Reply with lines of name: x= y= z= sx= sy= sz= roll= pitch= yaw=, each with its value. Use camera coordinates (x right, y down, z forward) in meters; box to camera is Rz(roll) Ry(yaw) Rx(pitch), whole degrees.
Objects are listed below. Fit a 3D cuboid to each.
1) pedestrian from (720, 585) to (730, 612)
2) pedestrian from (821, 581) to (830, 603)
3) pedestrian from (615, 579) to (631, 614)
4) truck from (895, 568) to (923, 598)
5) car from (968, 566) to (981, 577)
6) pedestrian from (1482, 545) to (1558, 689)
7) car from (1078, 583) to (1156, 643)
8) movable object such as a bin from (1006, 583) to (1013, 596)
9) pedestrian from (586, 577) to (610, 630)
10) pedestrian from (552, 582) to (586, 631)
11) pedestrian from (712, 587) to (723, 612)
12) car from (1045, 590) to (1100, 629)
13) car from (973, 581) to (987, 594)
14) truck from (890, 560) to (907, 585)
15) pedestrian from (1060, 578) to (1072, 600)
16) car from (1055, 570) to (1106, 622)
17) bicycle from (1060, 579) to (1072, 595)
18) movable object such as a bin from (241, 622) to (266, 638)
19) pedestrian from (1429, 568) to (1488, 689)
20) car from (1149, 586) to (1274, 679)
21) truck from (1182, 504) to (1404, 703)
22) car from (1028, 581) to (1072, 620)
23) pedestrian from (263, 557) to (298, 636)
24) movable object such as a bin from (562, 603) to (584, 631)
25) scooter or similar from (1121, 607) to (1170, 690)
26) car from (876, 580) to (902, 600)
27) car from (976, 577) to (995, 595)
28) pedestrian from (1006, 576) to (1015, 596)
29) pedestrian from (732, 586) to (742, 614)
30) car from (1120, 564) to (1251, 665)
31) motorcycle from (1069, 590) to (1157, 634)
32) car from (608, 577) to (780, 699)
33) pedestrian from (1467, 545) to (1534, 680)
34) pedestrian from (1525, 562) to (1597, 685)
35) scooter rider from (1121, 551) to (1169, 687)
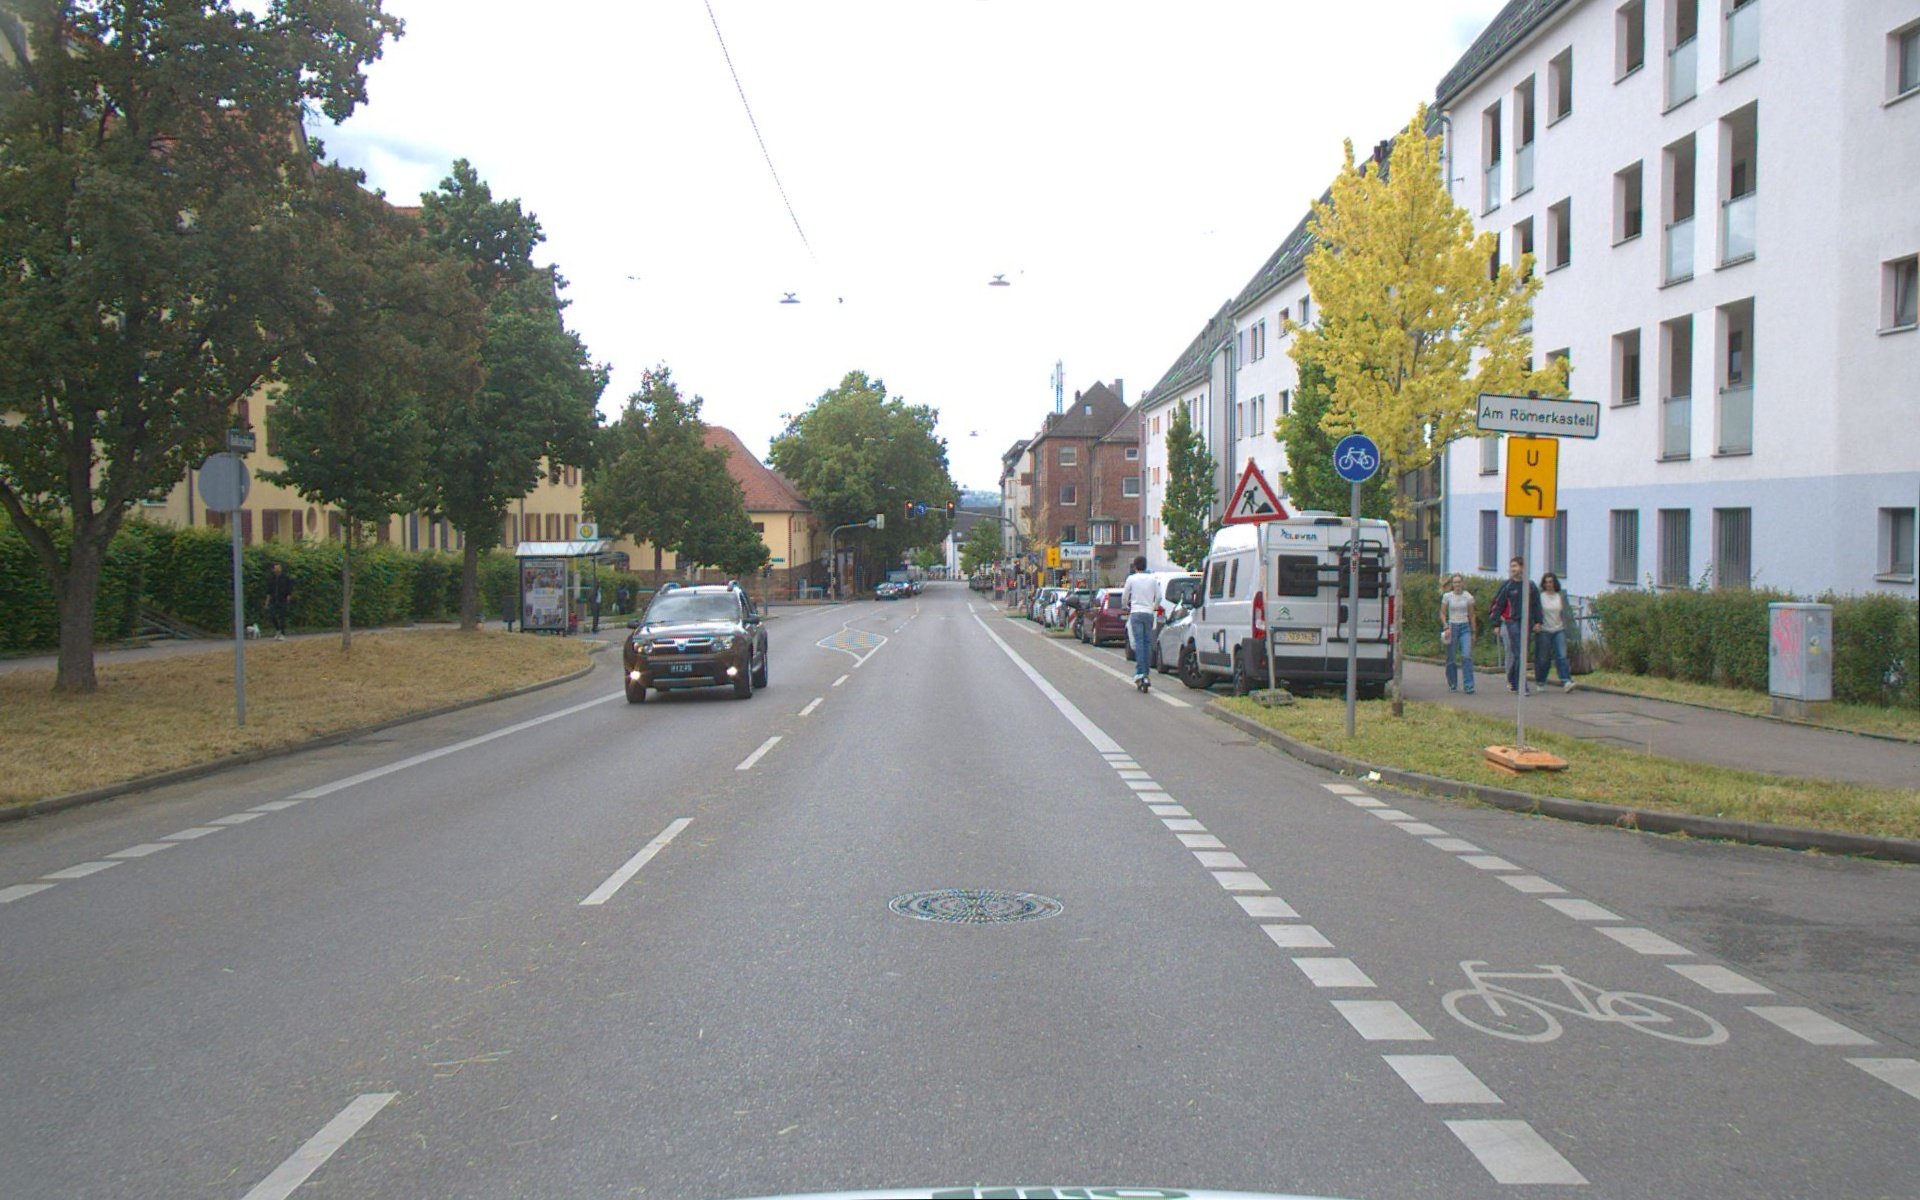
pedestrian: x=-15.605 y=-0.090 z=109.837 sx=0.552 sy=1.808 sz=0.842 roll=0 pitch=1 yaw=-1
pedestrian: x=-10.715 y=-0.650 z=131.985 sx=0.660 sy=1.796 sz=0.726 roll=0 pitch=0 yaw=3
pedestrian: x=-16.279 y=-0.175 z=79.947 sx=0.627 sy=1.647 sz=0.618 roll=0 pitch=1 yaw=-2
truck: x=-4.379 y=-1.478 z=141.394 sx=2.250 sy=2.469 sz=6.407 roll=-1 pitch=1 yaw=-3
car: x=2.089 y=-4.251 z=244.186 sx=1.635 sy=1.574 sz=3.754 roll=0 pitch=1 yaw=-3
pedestrian: x=7.626 y=0.225 z=22.553 sx=0.658 sy=1.919 sz=0.764 roll=-1 pitch=-1 yaw=-13
car: x=4.351 y=0.336 z=46.332 sx=1.647 sy=1.571 sz=4.338 roll=0 pitch=1 yaw=-2
movable object such as a bin: x=4.169 y=-0.885 z=138.927 sx=0.443 sy=1.075 sz=0.410 roll=0 pitch=0 yaw=19
pedestrian: x=-12.098 y=0.115 z=55.315 sx=0.585 sy=1.757 sz=0.861 roll=1 pitch=0 yaw=2
pedestrian: x=-12.559 y=0.190 z=53.150 sx=0.881 sy=1.536 sz=0.806 roll=1 pitch=1 yaw=0
pedestrian: x=-15.217 y=-0.026 z=103.774 sx=0.552 sy=1.594 sz=0.843 roll=0 pitch=1 yaw=5
car: x=4.431 y=0.349 z=65.610 sx=1.695 sy=1.438 sz=4.498 roll=1 pitch=1 yaw=-2
car: x=2.623 y=-1.618 z=215.188 sx=1.635 sy=1.574 sz=3.754 roll=0 pitch=1 yaw=-3
truck: x=-8.449 y=-3.733 z=227.718 sx=2.185 sy=3.404 sz=7.448 roll=0 pitch=1 yaw=-1
pedestrian: x=7.995 y=-0.833 z=125.010 sx=0.772 sy=1.685 sz=0.772 roll=-2 pitch=1 yaw=0
car: x=4.349 y=-0.166 z=60.147 sx=1.598 sy=1.678 sz=4.358 roll=2 pitch=2 yaw=1
bicycle: x=8.043 y=-0.996 z=125.790 sx=0.744 sy=1.214 sz=2.391 roll=0 pitch=1 yaw=0
movable object such as a bin: x=-16.414 y=0.692 z=38.434 sx=0.300 sy=0.353 sz=0.581 roll=0 pitch=1 yaw=5
pedestrian: x=7.044 y=0.395 z=23.364 sx=0.567 sy=1.673 sz=0.559 roll=-1 pitch=-1 yaw=-15
car: x=4.442 y=0.531 z=29.688 sx=1.494 sy=1.511 sz=3.725 roll=1 pitch=1 yaw=-3
truck: x=4.755 y=0.004 z=24.561 sx=2.011 sy=2.610 sz=5.688 roll=0 pitch=1 yaw=-2
car: x=4.221 y=0.013 z=78.172 sx=1.625 sy=1.745 sz=4.550 roll=1 pitch=1 yaw=-2
pedestrian: x=-15.688 y=-0.087 z=38.216 sx=0.503 sy=1.810 sz=0.753 roll=0 pitch=1 yaw=-1
movable object such as a bin: x=-12.357 y=0.537 z=52.818 sx=0.525 sy=0.860 sz=0.665 roll=1 pitch=1 yaw=0
scooter or similar: x=2.814 y=0.713 z=25.218 sx=0.480 sy=1.183 sz=2.074 roll=0 pitch=1 yaw=-1
car: x=-5.640 y=-0.797 z=131.744 sx=1.719 sy=1.498 sz=4.308 roll=-1 pitch=1 yaw=3
car: x=2.931 y=-1.622 z=191.645 sx=1.954 sy=1.969 sz=4.916 roll=0 pitch=1 yaw=-3
pedestrian: x=4.262 y=-1.167 z=139.119 sx=0.553 sy=1.665 sz=0.681 roll=0 pitch=1 yaw=19
pedestrian: x=-14.776 y=-0.006 z=109.693 sx=0.552 sy=1.808 sz=0.717 roll=0 pitch=1 yaw=-1
car: x=4.649 y=0.245 z=34.823 sx=1.953 sy=1.978 sz=5.210 roll=0 pitch=1 yaw=-1
motorcycle: x=4.579 y=0.351 z=49.693 sx=2.546 sy=1.301 sz=0.752 roll=0 pitch=1 yaw=-5
car: x=-3.862 y=0.492 z=24.693 sx=1.860 sy=1.648 sz=4.362 roll=0 pitch=1 yaw=0
pedestrian: x=7.821 y=0.176 z=23.959 sx=0.659 sy=1.919 sz=0.617 roll=-1 pitch=-1 yaw=-18
pedestrian: x=8.285 y=0.315 z=22.808 sx=0.645 sy=1.633 sz=0.574 roll=-4 pitch=1 yaw=-10
scooter rider: x=2.816 y=0.281 z=25.213 sx=0.613 sy=2.049 sz=0.757 roll=0 pitch=1 yaw=-2
